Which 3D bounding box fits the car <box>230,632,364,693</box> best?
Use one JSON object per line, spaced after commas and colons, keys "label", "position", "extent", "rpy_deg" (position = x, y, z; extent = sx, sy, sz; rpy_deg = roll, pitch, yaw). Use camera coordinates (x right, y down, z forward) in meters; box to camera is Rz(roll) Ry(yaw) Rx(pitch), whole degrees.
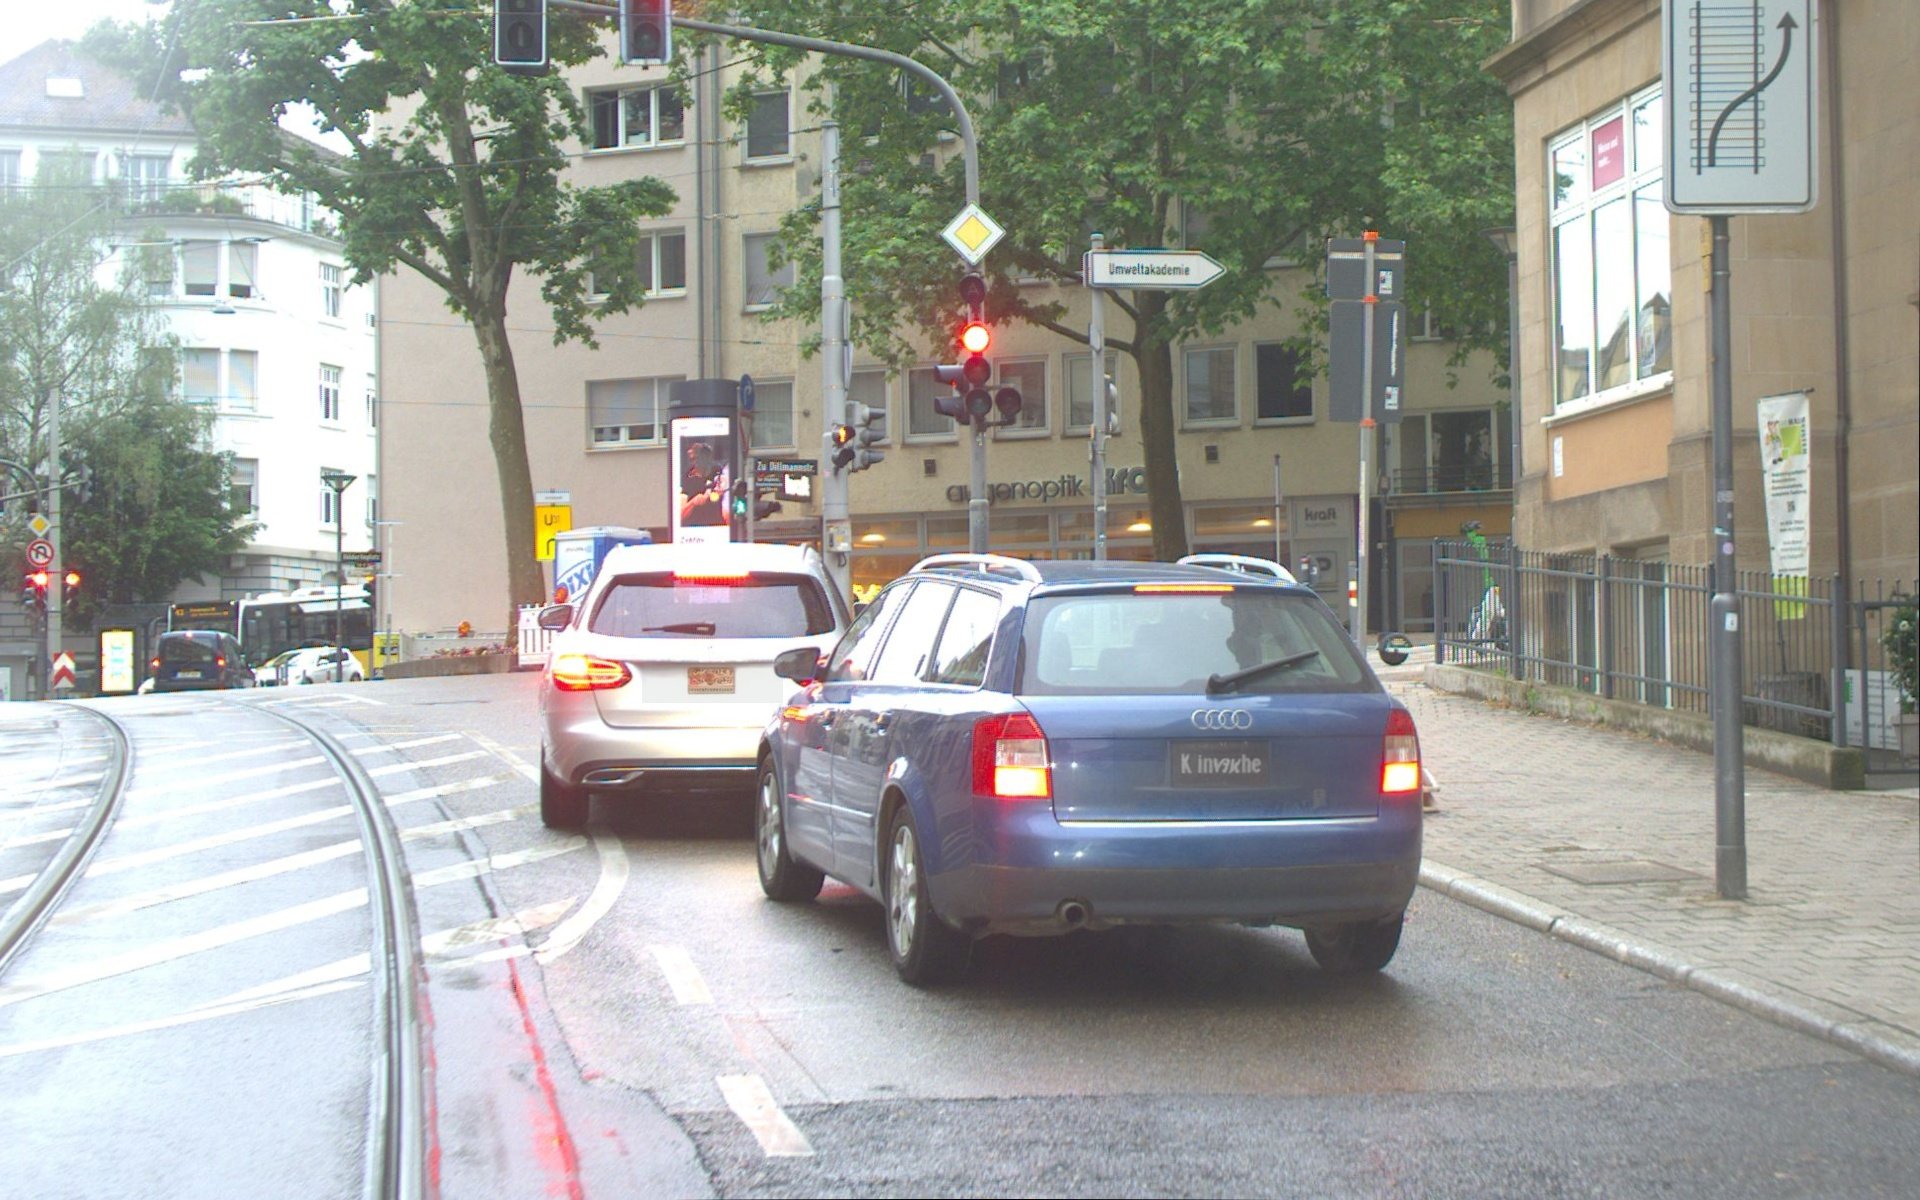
{"label": "car", "position": [-18.258, 1.706, 94.820], "extent": [1.796, 1.505, 3.996], "rpy_deg": [-1, 1, 20]}

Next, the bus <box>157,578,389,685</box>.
{"label": "bus", "position": [-20.089, 0.863, 101.205], "extent": [2.856, 2.851, 8.726], "rpy_deg": [-1, 1, 17]}

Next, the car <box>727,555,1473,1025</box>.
{"label": "car", "position": [0.328, 0.565, 12.782], "extent": [1.710, 1.410, 4.037], "rpy_deg": [0, 1, -14]}

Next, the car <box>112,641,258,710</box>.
{"label": "car", "position": [-20.174, 1.952, 89.597], "extent": [1.796, 1.609, 3.996], "rpy_deg": [-1, 1, 20]}

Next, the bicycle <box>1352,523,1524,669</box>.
{"label": "bicycle", "position": [4.049, -0.041, 29.171], "extent": [1.300, 1.169, 0.526], "rpy_deg": [-3, 1, -9]}

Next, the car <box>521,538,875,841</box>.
{"label": "car", "position": [-1.423, 0.410, 18.552], "extent": [1.710, 1.451, 3.553], "rpy_deg": [0, 1, -5]}

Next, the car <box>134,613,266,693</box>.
{"label": "car", "position": [-16.400, 1.119, 74.350], "extent": [1.794, 1.505, 4.000], "rpy_deg": [-3, 1, 1]}
